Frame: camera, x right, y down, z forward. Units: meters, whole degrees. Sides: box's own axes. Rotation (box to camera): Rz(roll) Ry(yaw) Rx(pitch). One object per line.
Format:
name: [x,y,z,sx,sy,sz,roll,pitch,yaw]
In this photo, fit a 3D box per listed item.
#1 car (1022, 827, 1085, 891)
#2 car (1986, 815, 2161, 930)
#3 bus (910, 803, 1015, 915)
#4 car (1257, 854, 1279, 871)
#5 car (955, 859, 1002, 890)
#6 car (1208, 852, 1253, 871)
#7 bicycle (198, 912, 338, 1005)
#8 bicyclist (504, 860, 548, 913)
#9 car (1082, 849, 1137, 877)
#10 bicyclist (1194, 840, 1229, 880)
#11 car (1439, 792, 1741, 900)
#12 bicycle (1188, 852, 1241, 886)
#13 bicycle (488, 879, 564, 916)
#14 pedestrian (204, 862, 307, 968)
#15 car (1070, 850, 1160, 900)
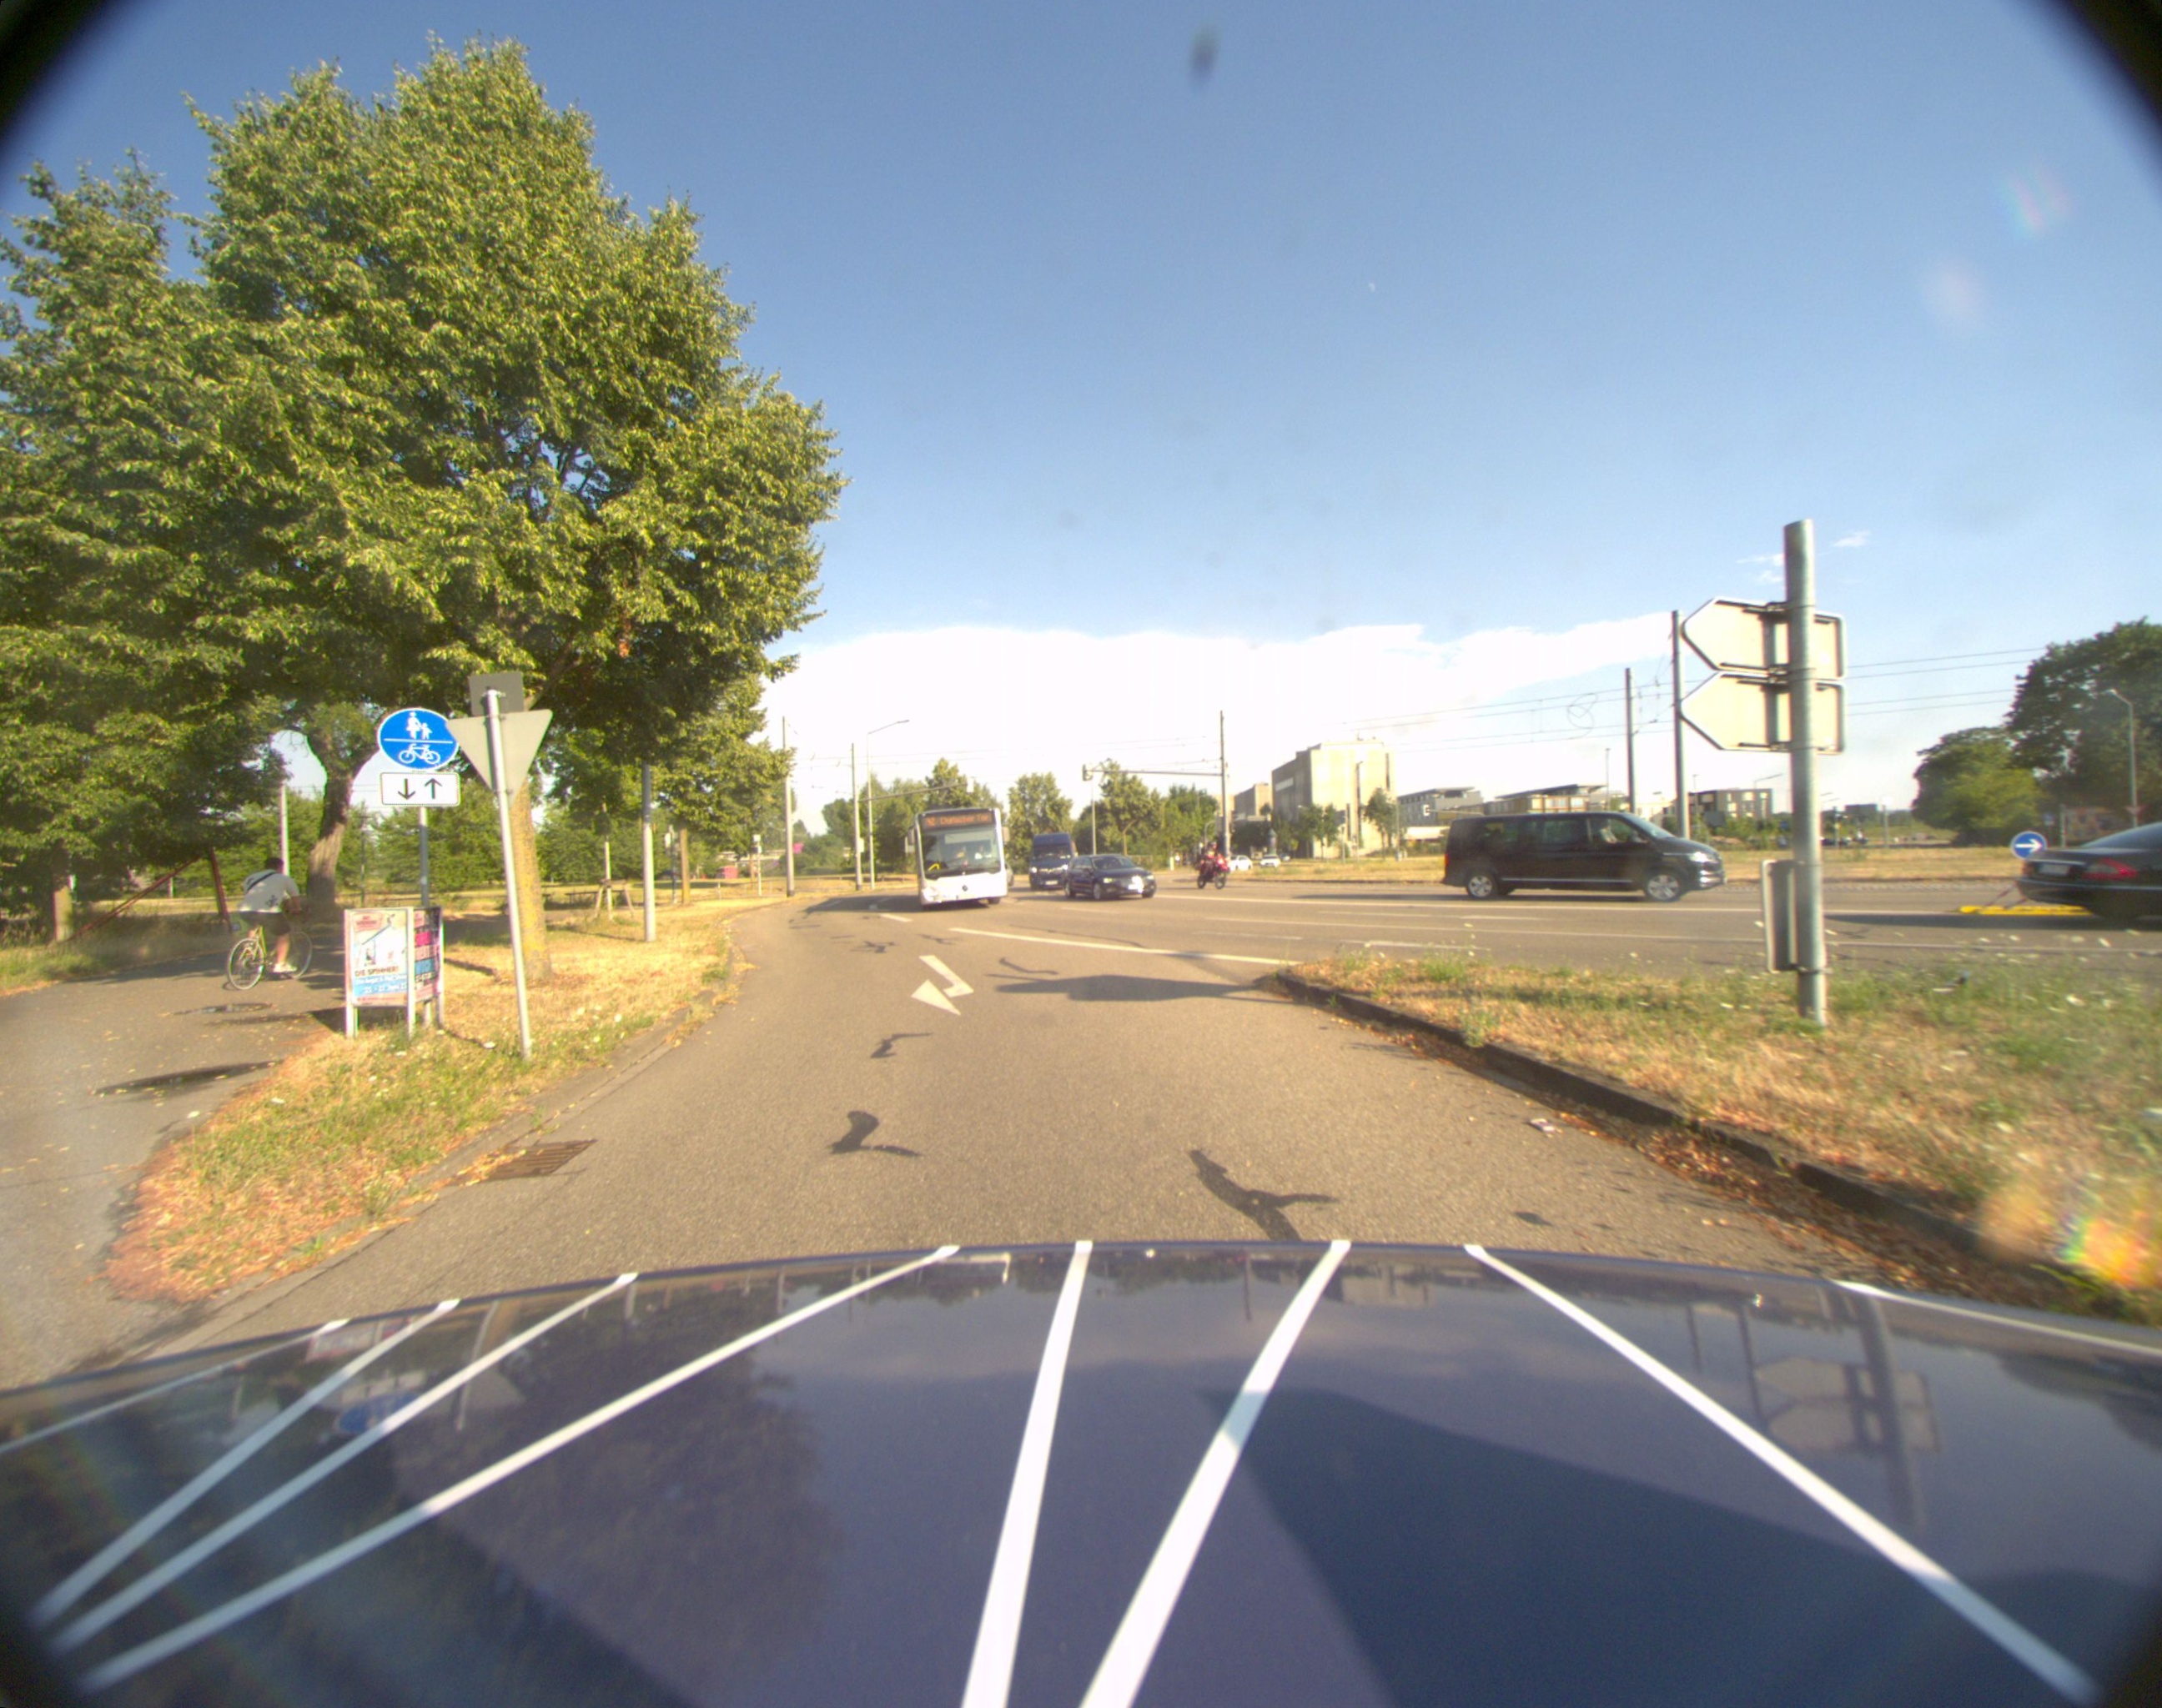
car: [-1.143,0.262,34.655,1.998,2.578,5.489,-3,-1,5]
car: [15.209,0.161,9.477,4.689,1.398,1.846,-2,1,25]
bus: [-4.632,0.162,27.183,2.667,3.044,12.165,-2,0,-13]
car: [18.797,0.843,76.271,1.996,1.630,4.004,-2,0,14]
car: [-5.591,1.082,41.862,1.998,1.514,4.000,-2,0,0]
car: [12.585,0.604,63.586,2.089,1.376,4.598,-2,0,33]
bicycle: [-11.387,1.408,10.725,0.535,1.049,1.910,-2,0,-21]
bicyclist: [-19.387,1.114,26.555,0.727,1.790,0.939,-2,1,18]
car: [1.881,0.548,49.015,1.866,1.652,4.007,-2,0,30]
bicyclist: [4.838,0.217,28.124,0.885,1.377,0.770,-6,2,-27]
car: [11.144,-0.116,16.989,2.098,2.035,5.230,-3,0,-43]
bicycle: [4.892,0.560,27.964,0.821,1.177,2.027,-2,0,-29]
bicycle: [-19.367,1.503,26.570,0.639,1.116,2.128,-2,0,18]
pedestrian: [-11.343,0.812,10.475,0.653,1.383,0.766,-1,1,-20]
car: [0.987,0.636,24.699,1.811,1.428,4.382,-3,0,-12]
